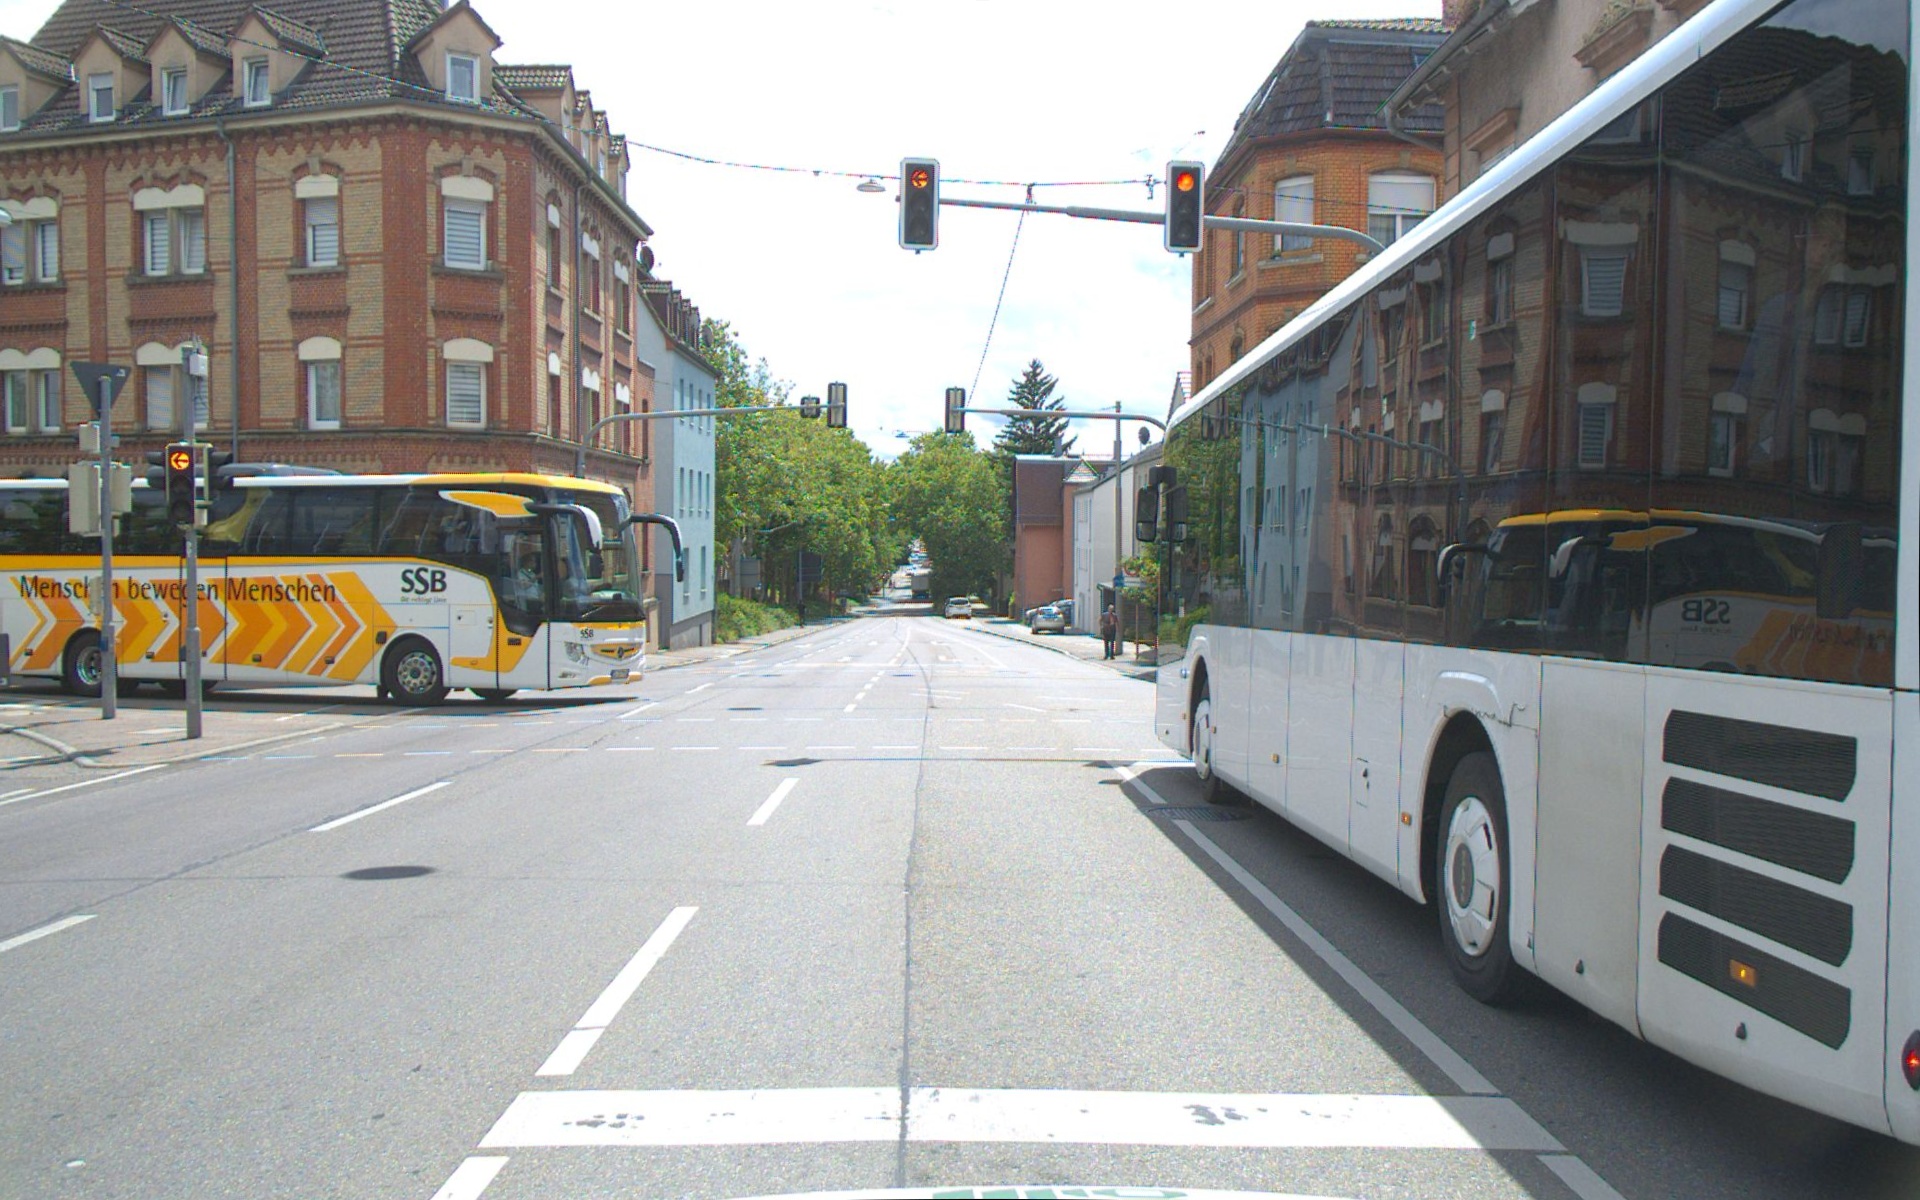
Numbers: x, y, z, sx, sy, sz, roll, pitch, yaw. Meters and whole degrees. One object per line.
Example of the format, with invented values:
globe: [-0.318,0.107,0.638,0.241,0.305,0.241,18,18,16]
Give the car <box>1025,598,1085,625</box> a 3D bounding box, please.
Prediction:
car: [6.492,0.787,113.256,3.909,1.788,1.998,-1,0,-6]

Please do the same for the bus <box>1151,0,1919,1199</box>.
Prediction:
bus: [3.187,-0.158,9.416,2.618,3.211,12.459,0,0,-1]

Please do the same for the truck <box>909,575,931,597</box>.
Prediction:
truck: [-5.805,-2.042,239.200,2.868,3.135,7.881,-1,0,-3]

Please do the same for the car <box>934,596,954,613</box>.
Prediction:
car: [-1.398,0.416,145.798,1.757,1.434,4.418,1,0,0]

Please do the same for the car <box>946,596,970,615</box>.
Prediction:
car: [-0.164,0.466,129.390,1.758,1.434,3.999,1,0,-1]

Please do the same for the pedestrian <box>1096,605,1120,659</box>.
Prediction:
pedestrian: [4.900,1.053,54.769,0.723,1.781,0.619,-1,0,-1]

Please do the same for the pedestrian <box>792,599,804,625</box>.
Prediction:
pedestrian: [-9.792,0.706,100.008,0.714,1.592,0.560,0,0,-2]

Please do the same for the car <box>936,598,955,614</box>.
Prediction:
car: [-1.328,0.528,153.905,1.757,1.434,4.418,1,0,0]

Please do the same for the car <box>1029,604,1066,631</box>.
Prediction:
car: [4.916,0.952,93.131,1.758,1.434,3.999,-1,1,-2]

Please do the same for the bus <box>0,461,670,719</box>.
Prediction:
bus: [-10.749,-0.241,26.750,11.966,3.685,2.773,1,0,17]
